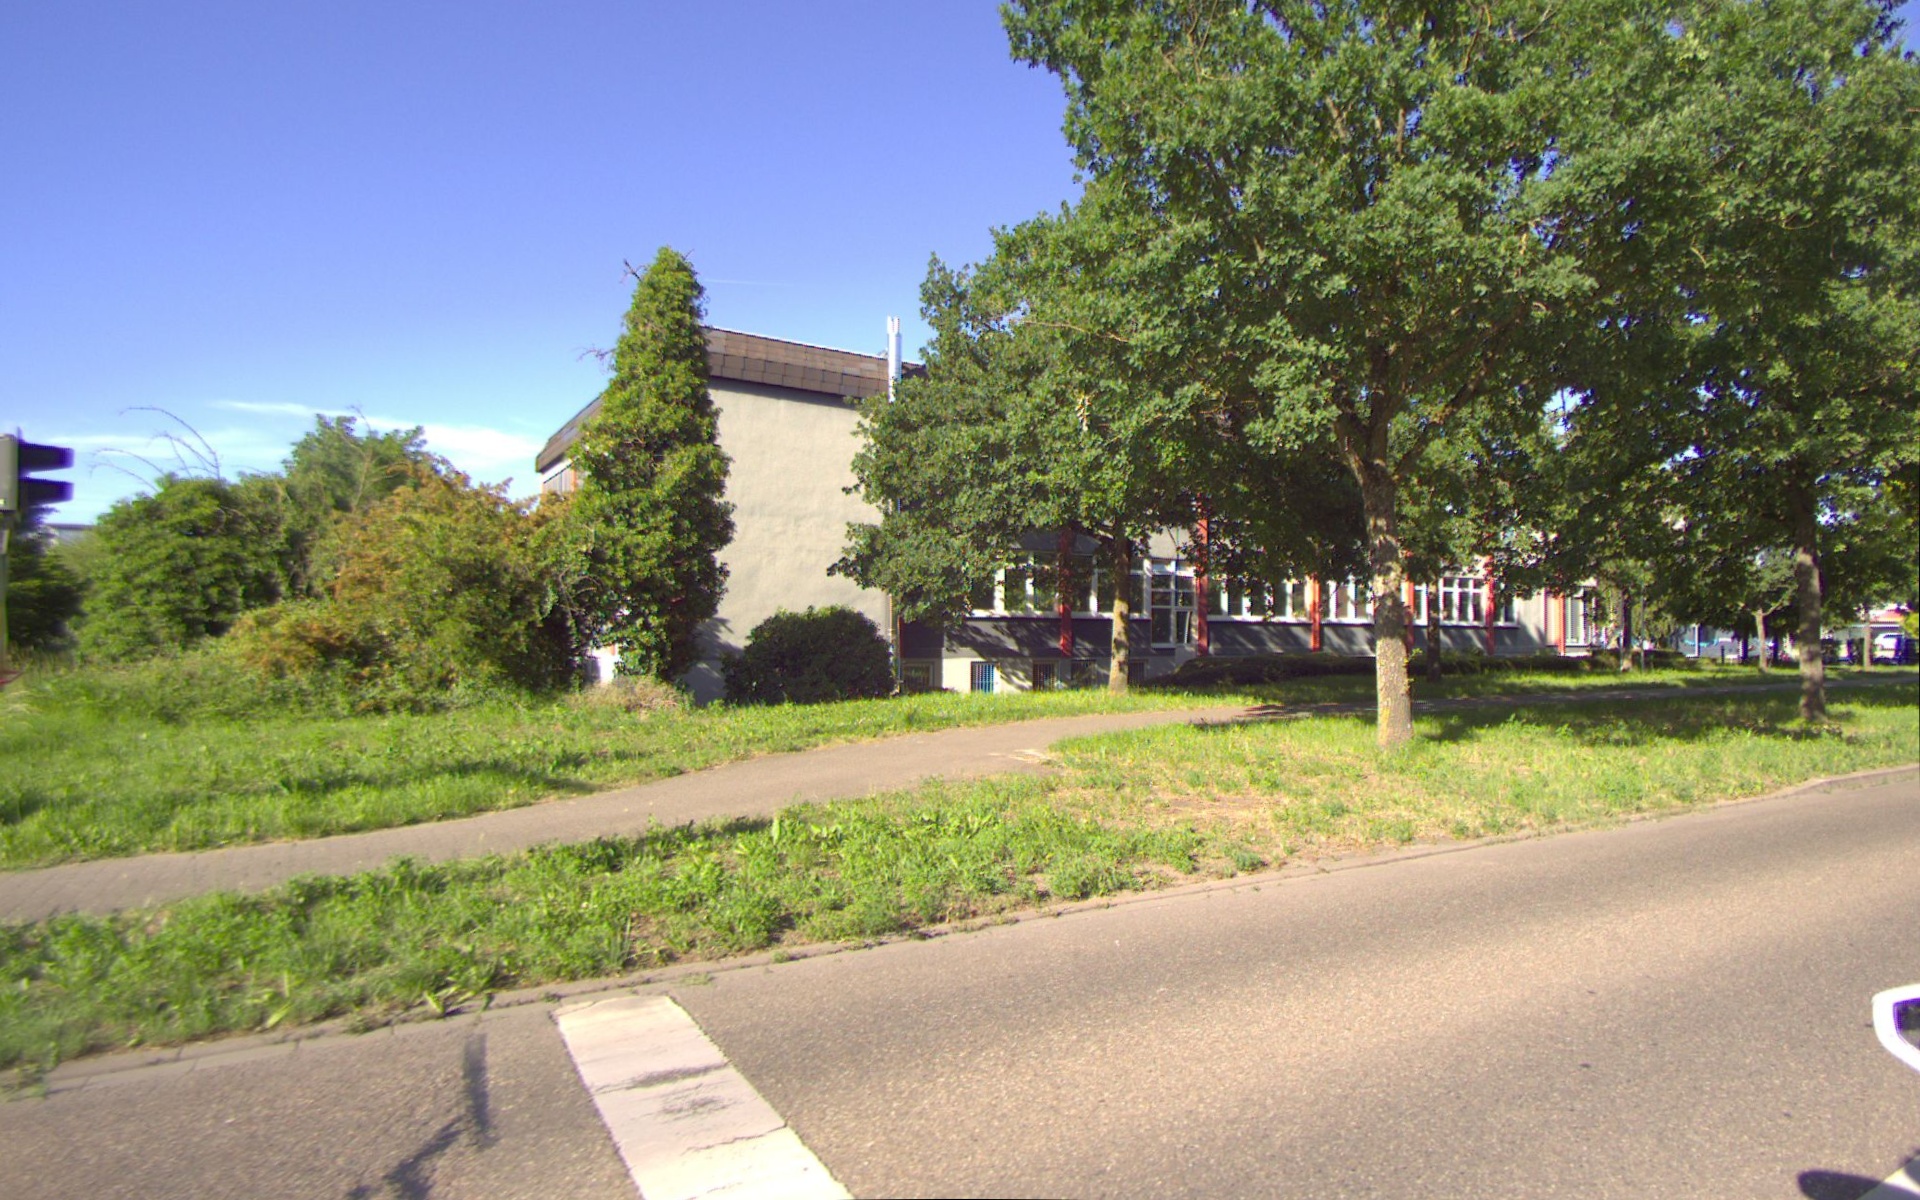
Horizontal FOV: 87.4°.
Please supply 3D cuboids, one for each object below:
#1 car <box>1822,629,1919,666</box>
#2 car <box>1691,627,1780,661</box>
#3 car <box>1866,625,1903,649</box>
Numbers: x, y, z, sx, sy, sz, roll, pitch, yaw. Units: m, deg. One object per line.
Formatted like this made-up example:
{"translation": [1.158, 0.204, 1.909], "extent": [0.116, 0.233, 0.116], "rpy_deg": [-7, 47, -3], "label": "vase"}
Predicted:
{"translation": [54.831, 2.795, 59.283], "extent": [1.983, 2.040, 5.742], "rpy_deg": [1, 0, -40], "label": "car"}
{"translation": [42.242, 2.376, 54.773], "extent": [1.973, 1.664, 3.349], "rpy_deg": [1, 0, -25], "label": "car"}
{"translation": [91.852, 3.669, 99.762], "extent": [3.962, 2.265, 1.980], "rpy_deg": [1, -2, -37], "label": "car"}
